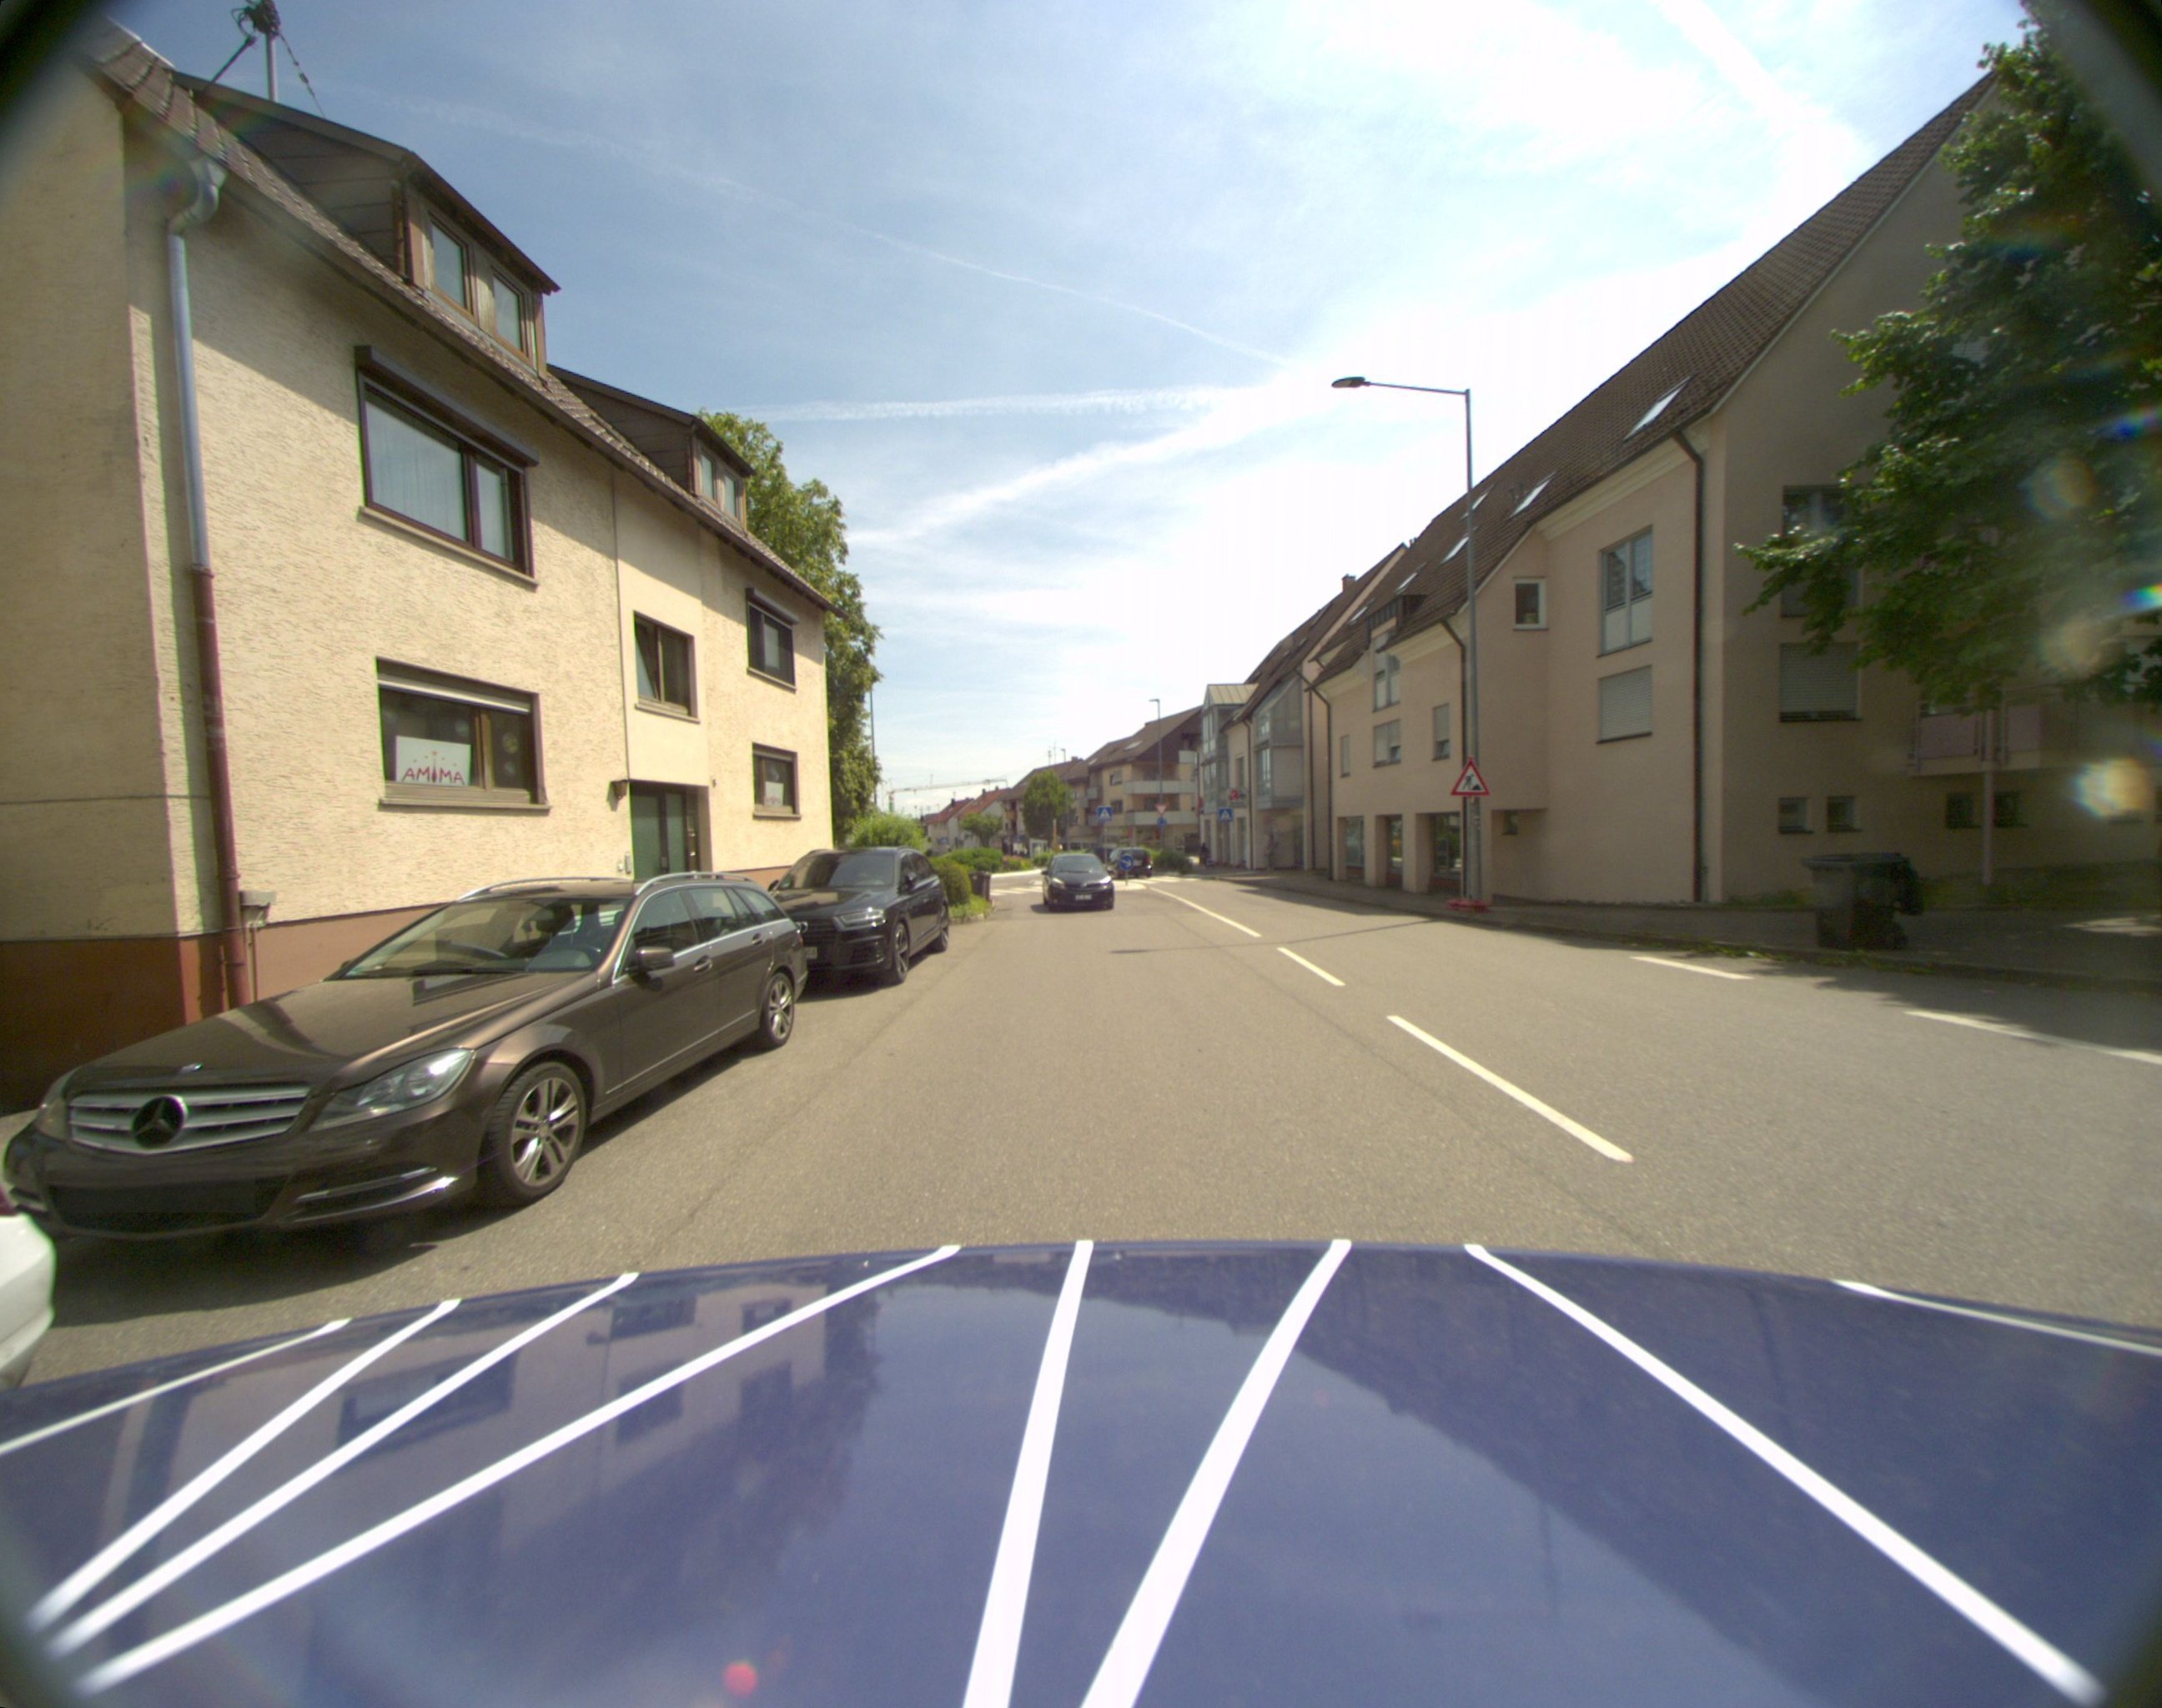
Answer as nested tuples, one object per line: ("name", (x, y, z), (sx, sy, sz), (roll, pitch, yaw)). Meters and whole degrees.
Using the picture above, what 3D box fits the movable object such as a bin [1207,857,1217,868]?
("movable object such as a bin", (7.078, 0.440, 41.108), (0.458, 0.578, 0.469), (-3, 1, 2))

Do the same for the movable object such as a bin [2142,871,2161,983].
("movable object such as a bin", (10.171, 0.648, 6.690), (0.773, 0.995, 0.609), (-5, 3, 2))

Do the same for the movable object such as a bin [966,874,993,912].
("movable object such as a bin", (-2.760, 1.062, 20.646), (0.525, 0.987, 0.502), (-2, 1, 14))

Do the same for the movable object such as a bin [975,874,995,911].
("movable object such as a bin", (-2.704, 1.088, 21.446), (0.502, 0.988, 0.503), (-3, 1, -8))

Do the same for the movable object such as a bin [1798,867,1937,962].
("movable object such as a bin", (8.930, 0.672, 8.655), (0.853, 0.994, 0.694), (-2, 1, 2))

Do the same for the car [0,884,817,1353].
("car", (-3.351, 1.010, 4.802), (1.793, 1.412, 4.358), (-1, 0, 0))

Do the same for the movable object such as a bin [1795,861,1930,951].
("movable object such as a bin", (9.558, 0.613, 9.329), (0.802, 0.994, 0.805), (-4, 1, 2))

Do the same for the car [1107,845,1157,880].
("car", (2.553, 0.392, 38.706), (1.757, 1.575, 3.942), (-3, 1, -7))

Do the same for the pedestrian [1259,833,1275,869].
("pedestrian", (9.076, -0.156, 37.138), (0.577, 1.699, 0.579), (-4, 1, 1))

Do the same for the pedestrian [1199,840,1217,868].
("pedestrian", (6.902, 0.002, 41.447), (0.801, 1.469, 0.957), (-2, 1, 3))

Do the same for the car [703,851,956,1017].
("car", (-3.078, 0.852, 10.482), (1.848, 1.660, 4.654), (-3, 1, 0))

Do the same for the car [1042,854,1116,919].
("car", (-0.090, 0.783, 20.544), (1.725, 1.448, 4.428), (-3, 1, -1))
